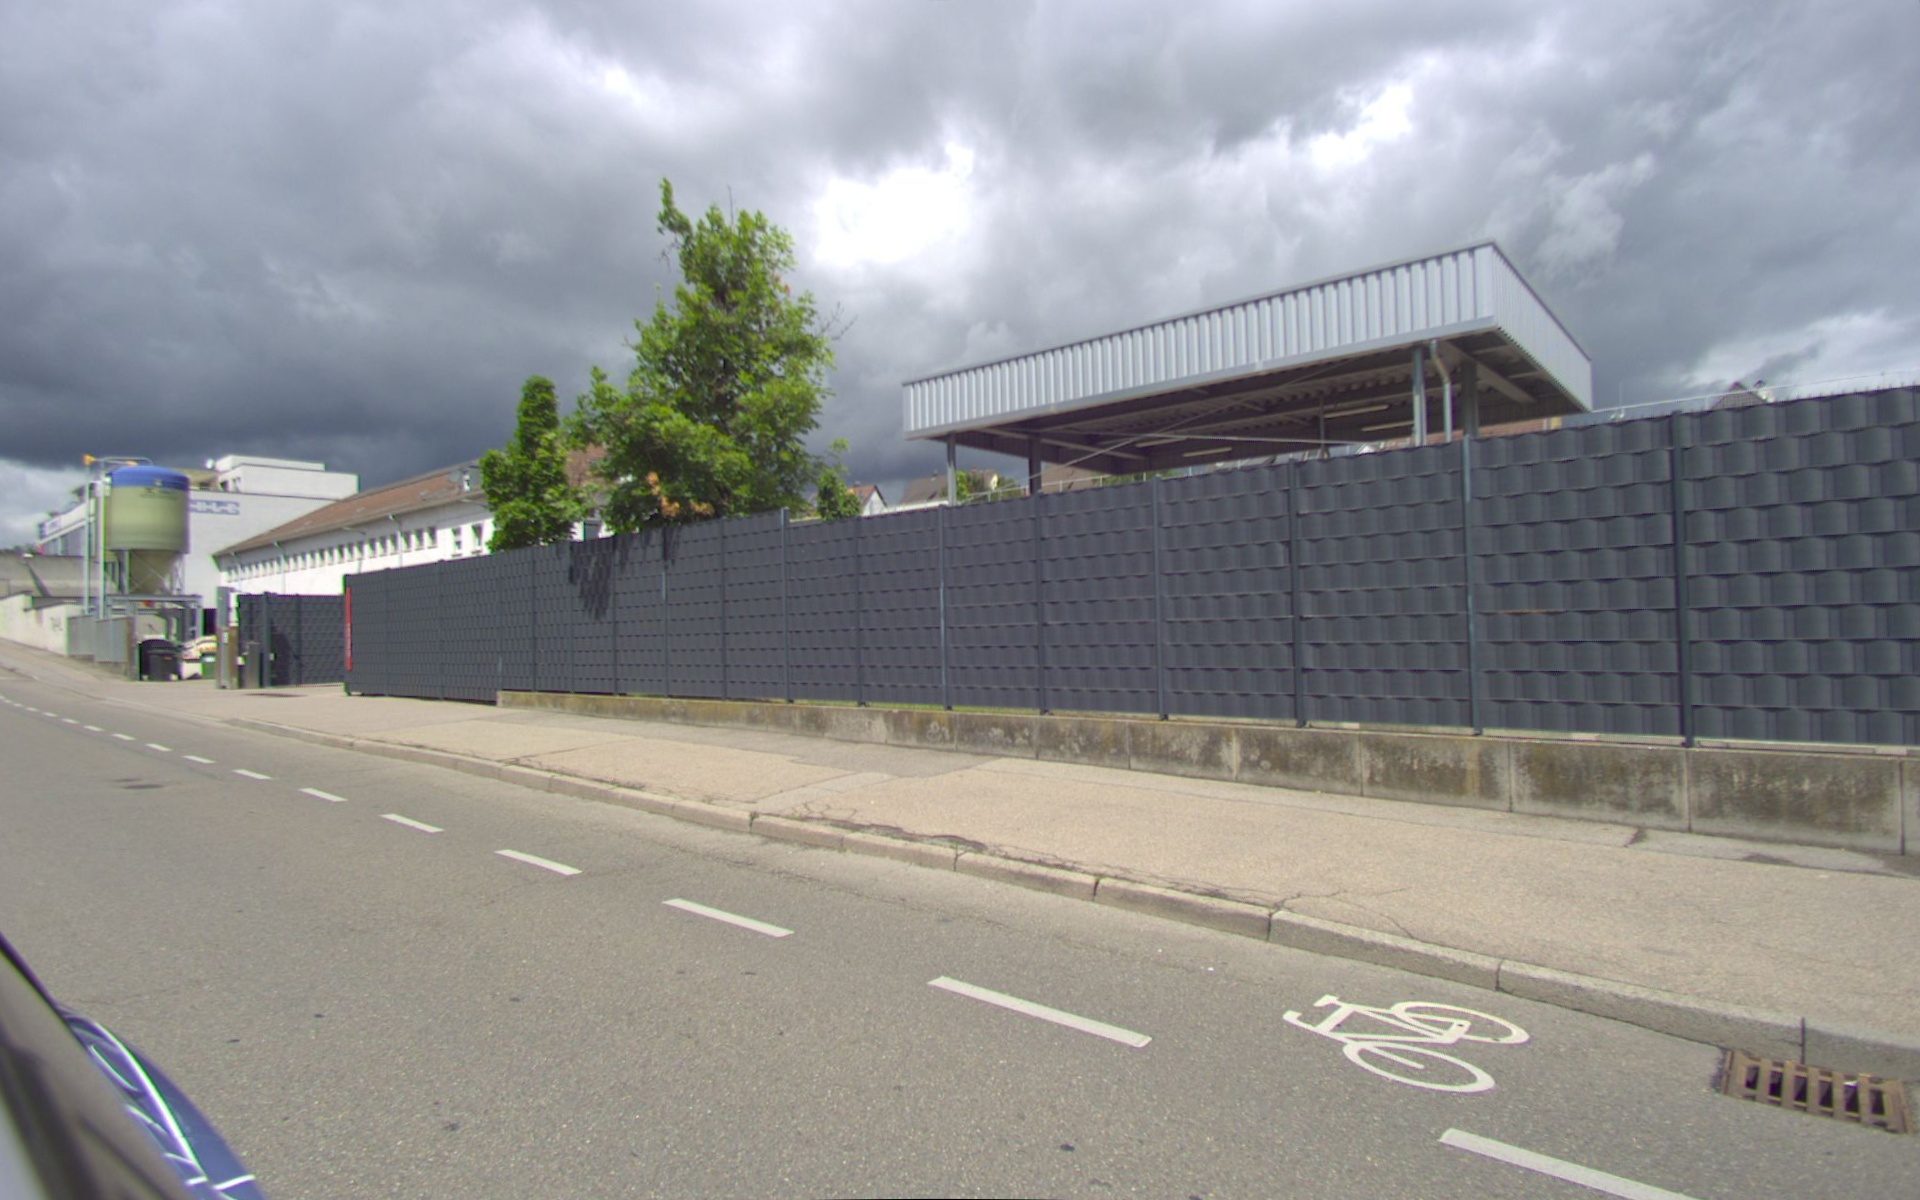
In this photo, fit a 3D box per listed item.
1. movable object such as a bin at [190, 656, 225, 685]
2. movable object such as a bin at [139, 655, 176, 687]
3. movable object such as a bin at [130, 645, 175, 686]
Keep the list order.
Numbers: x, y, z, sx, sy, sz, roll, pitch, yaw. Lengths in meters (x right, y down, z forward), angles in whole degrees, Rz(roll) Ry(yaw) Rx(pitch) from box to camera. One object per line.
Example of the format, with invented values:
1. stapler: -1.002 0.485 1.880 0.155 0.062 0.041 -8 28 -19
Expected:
1. movable object such as a bin: -27.434 2.569 36.903 0.853 1.009 0.729 -2 -2 24
2. movable object such as a bin: -27.163 2.399 34.251 0.741 1.058 0.862 -3 -5 44
3. movable object such as a bin: -27.864 2.252 34.938 1.215 1.404 0.980 -3 -5 42
